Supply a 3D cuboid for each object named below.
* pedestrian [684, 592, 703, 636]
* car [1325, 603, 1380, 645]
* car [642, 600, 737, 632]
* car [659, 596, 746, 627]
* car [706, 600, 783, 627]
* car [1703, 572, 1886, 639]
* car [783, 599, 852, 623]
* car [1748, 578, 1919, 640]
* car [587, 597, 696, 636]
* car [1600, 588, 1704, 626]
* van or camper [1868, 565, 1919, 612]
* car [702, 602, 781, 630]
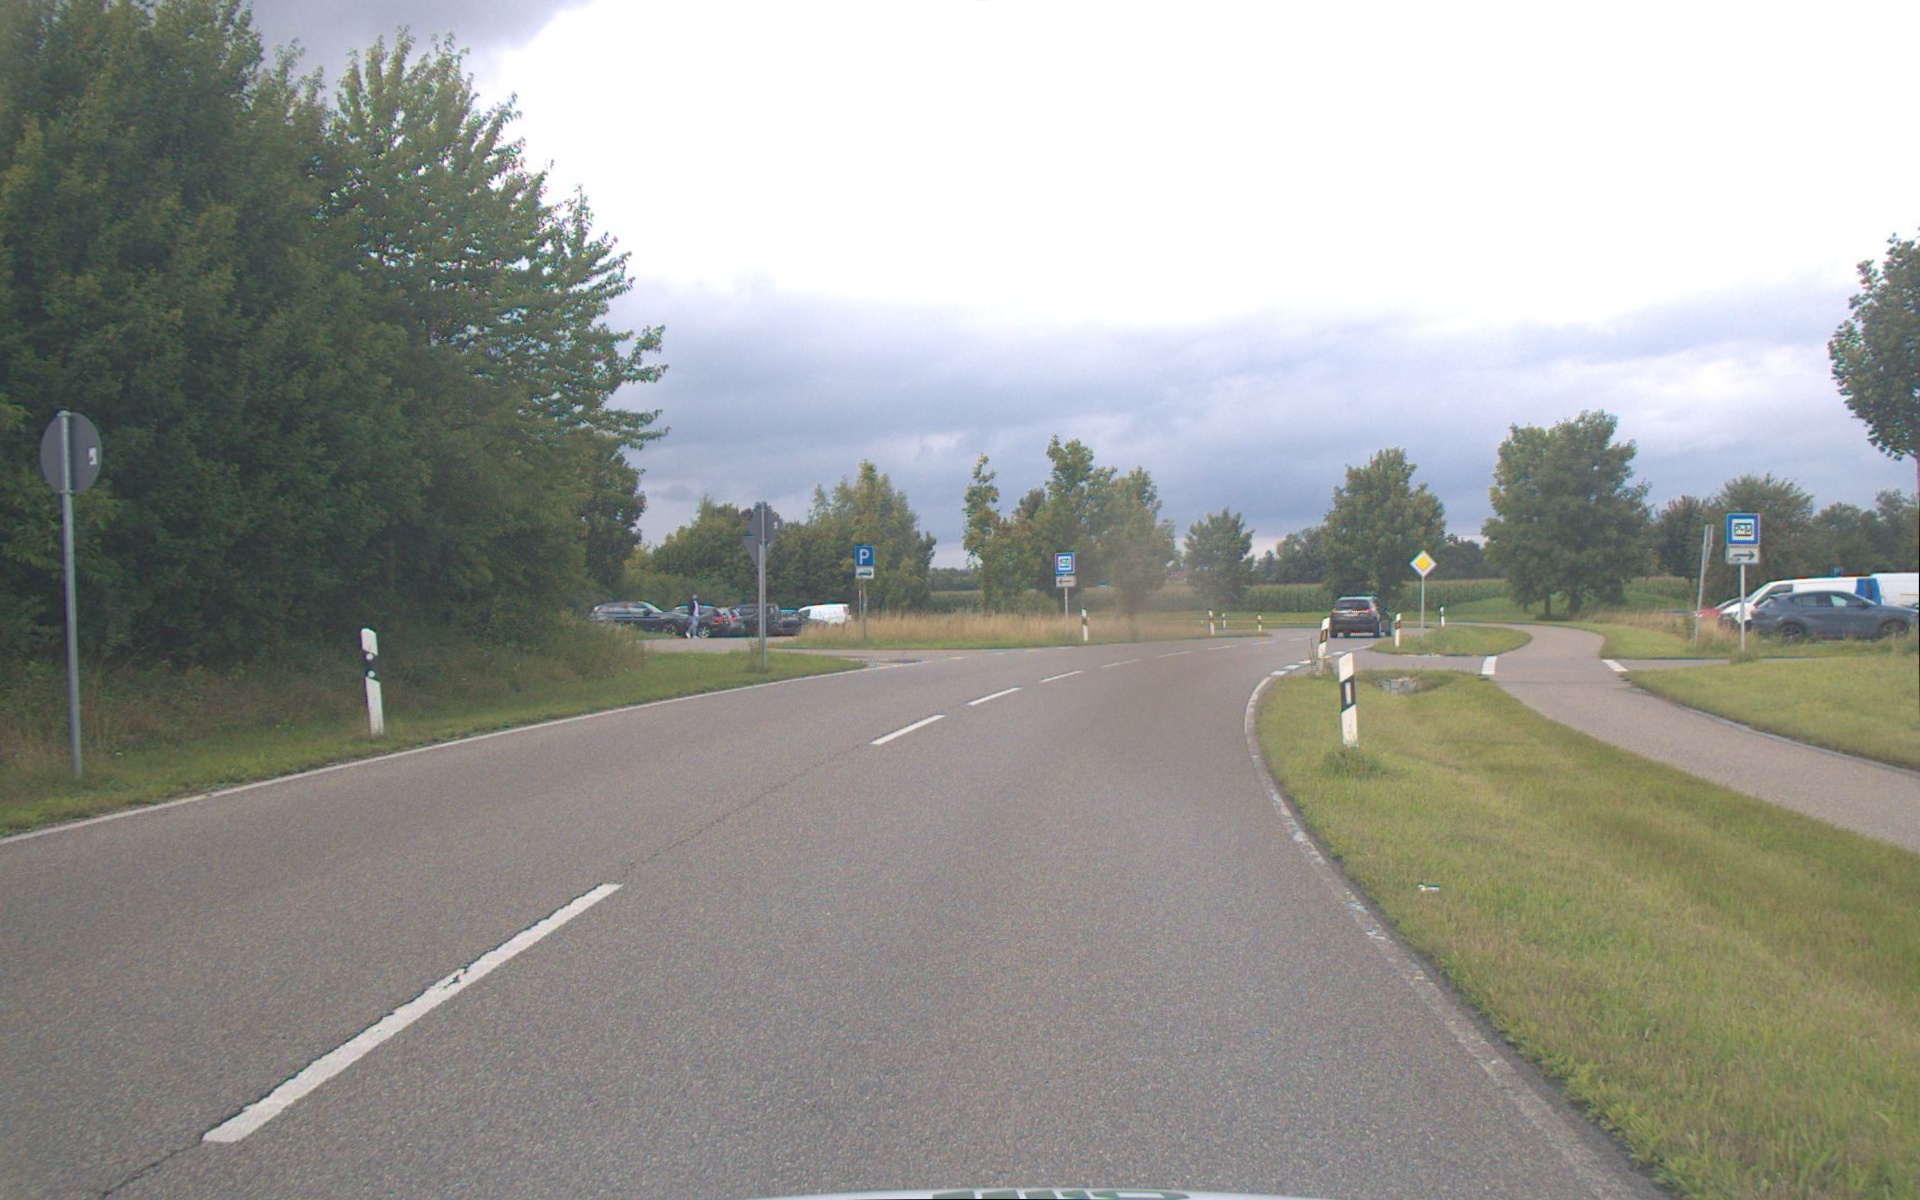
[{"bbox_3d":[-10.459,0.546,64.966,0.504,1.696,0.661,-1,0,11],"label":"pedestrian"},{"bbox_3d":[14.439,0.860,60.740,1.802,1.442,4.003,-1,0,16],"label":"car"},{"bbox_3d":[-12.308,0.742,75.347,3.902,1.404,1.825,-1,0,8],"label":"car"},{"bbox_3d":[-12.181,0.537,78.416,3.908,1.404,1.475,-1,0,-4],"label":"car"},{"bbox_3d":[-11.421,0.722,87.867,3.907,1.404,1.475,-1,0,-3],"label":"car"},{"bbox_3d":[25.945,0.189,51.605,4.843,2.009,1.955,-1,0,19],"label":"car"},{"bbox_3d":[-8.481,0.646,98.767,3.904,1.404,1.476,-1,0,2],"label":"car"},{"bbox_3d":[24.721,0.262,46.741,4.183,1.593,1.838,-2,-1,19],"label":"car"},{"bbox_3d":[-13.347,0.695,69.393,4.151,1.593,1.759,-1,0,5],"label":"car"},{"bbox_3d":[31.819,0.322,76.140,4.238,1.603,1.972,-2,-1,19],"label":"car"},{"bbox_3d":[55.738,-0.674,94.473,6.606,2.606,2.048,-1,0,23],"label":"van or camper"},{"bbox_3d":[-11.110,0.803,84.240,3.908,1.404,1.475,-1,0,-4],"label":"car"}]
